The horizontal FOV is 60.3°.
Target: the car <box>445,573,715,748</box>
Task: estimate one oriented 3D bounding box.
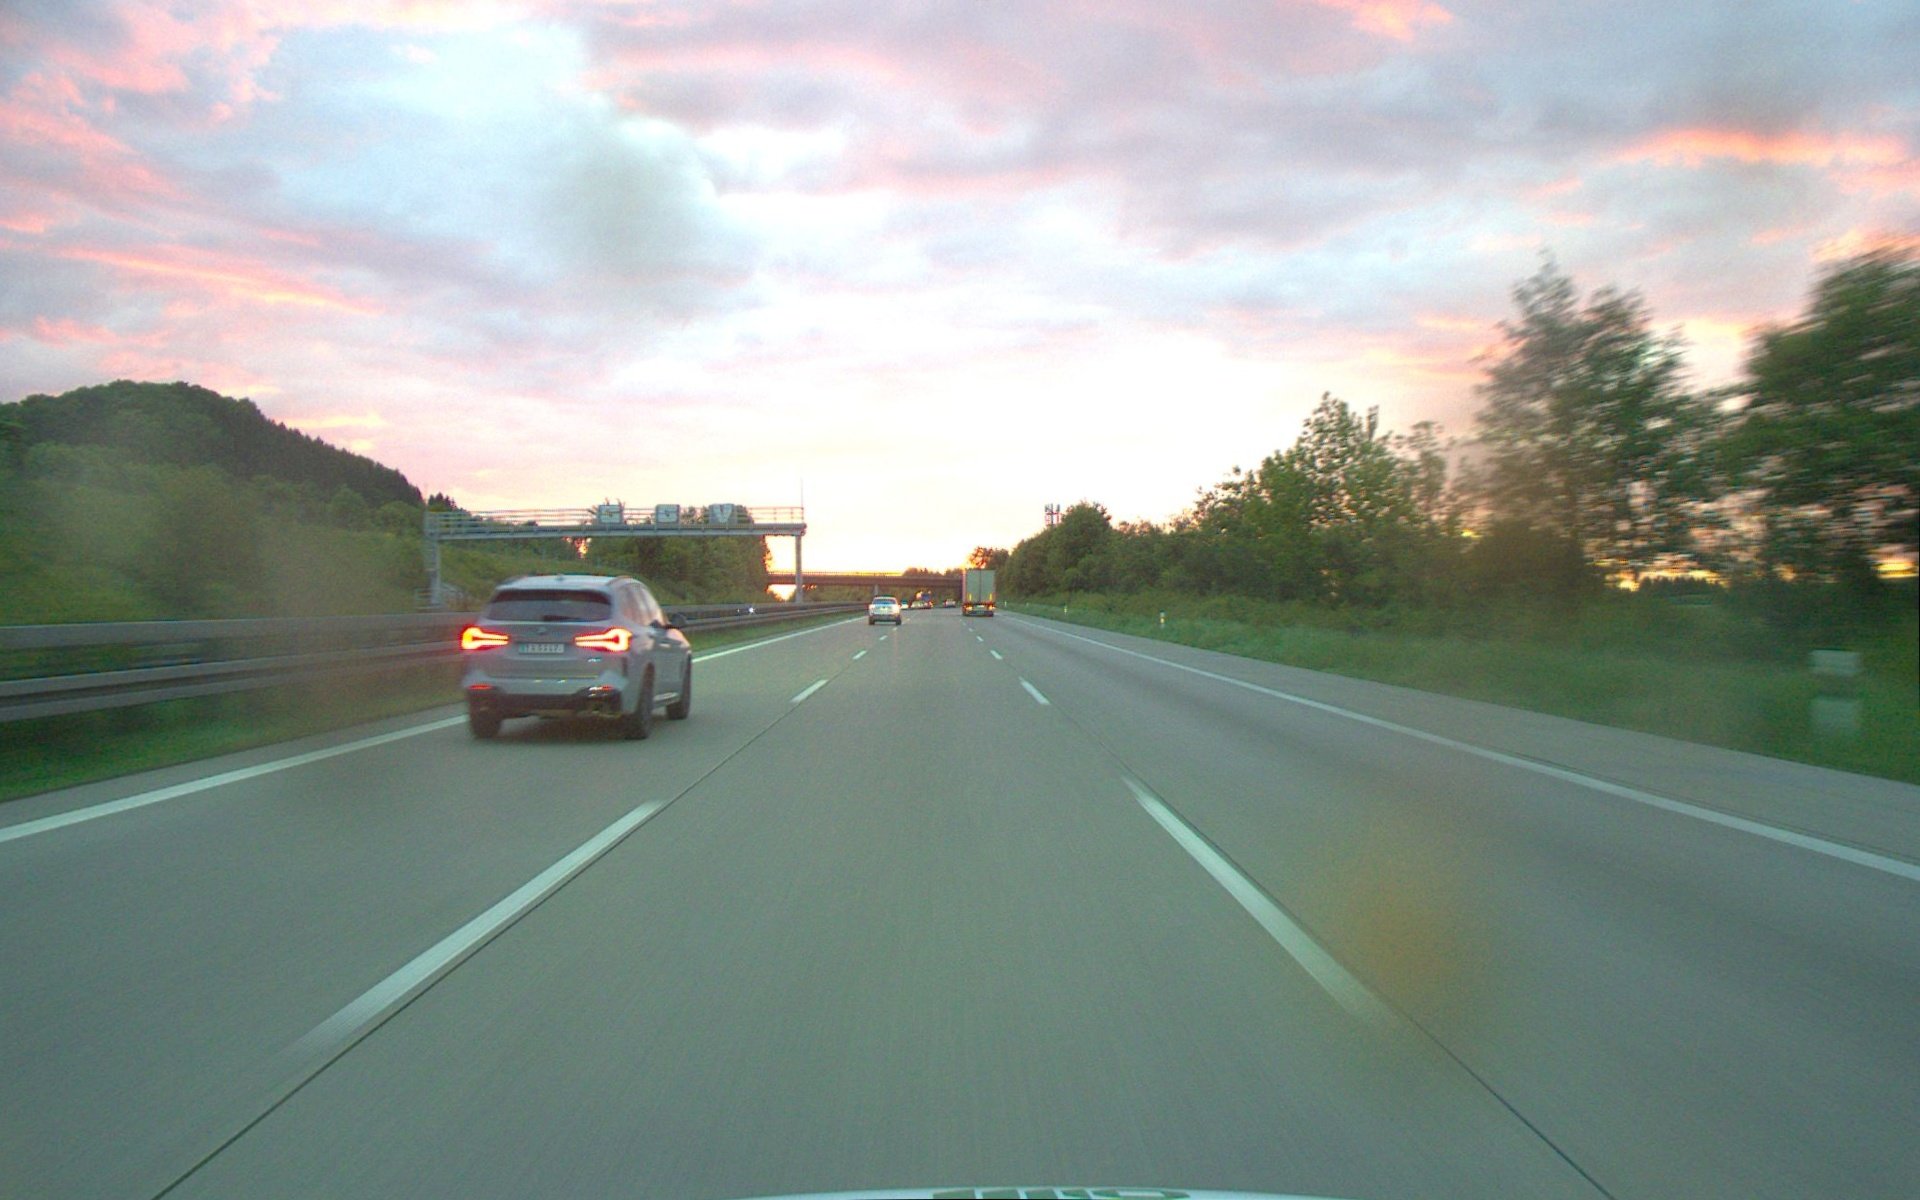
[{"bbox_3d":[-4.110,0.578,18.898,1.851,1.689,5.638,0,0,-1],"label":"car"}]

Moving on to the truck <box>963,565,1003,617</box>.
[{"bbox_3d":[1.927,-0.745,140.998,3.178,4.199,9.786,-1,0,0],"label":"truck"}]

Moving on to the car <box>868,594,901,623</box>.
[{"bbox_3d":[-4.264,0.437,93.796,1.753,1.527,5.036,1,1,-1],"label":"car"}]
